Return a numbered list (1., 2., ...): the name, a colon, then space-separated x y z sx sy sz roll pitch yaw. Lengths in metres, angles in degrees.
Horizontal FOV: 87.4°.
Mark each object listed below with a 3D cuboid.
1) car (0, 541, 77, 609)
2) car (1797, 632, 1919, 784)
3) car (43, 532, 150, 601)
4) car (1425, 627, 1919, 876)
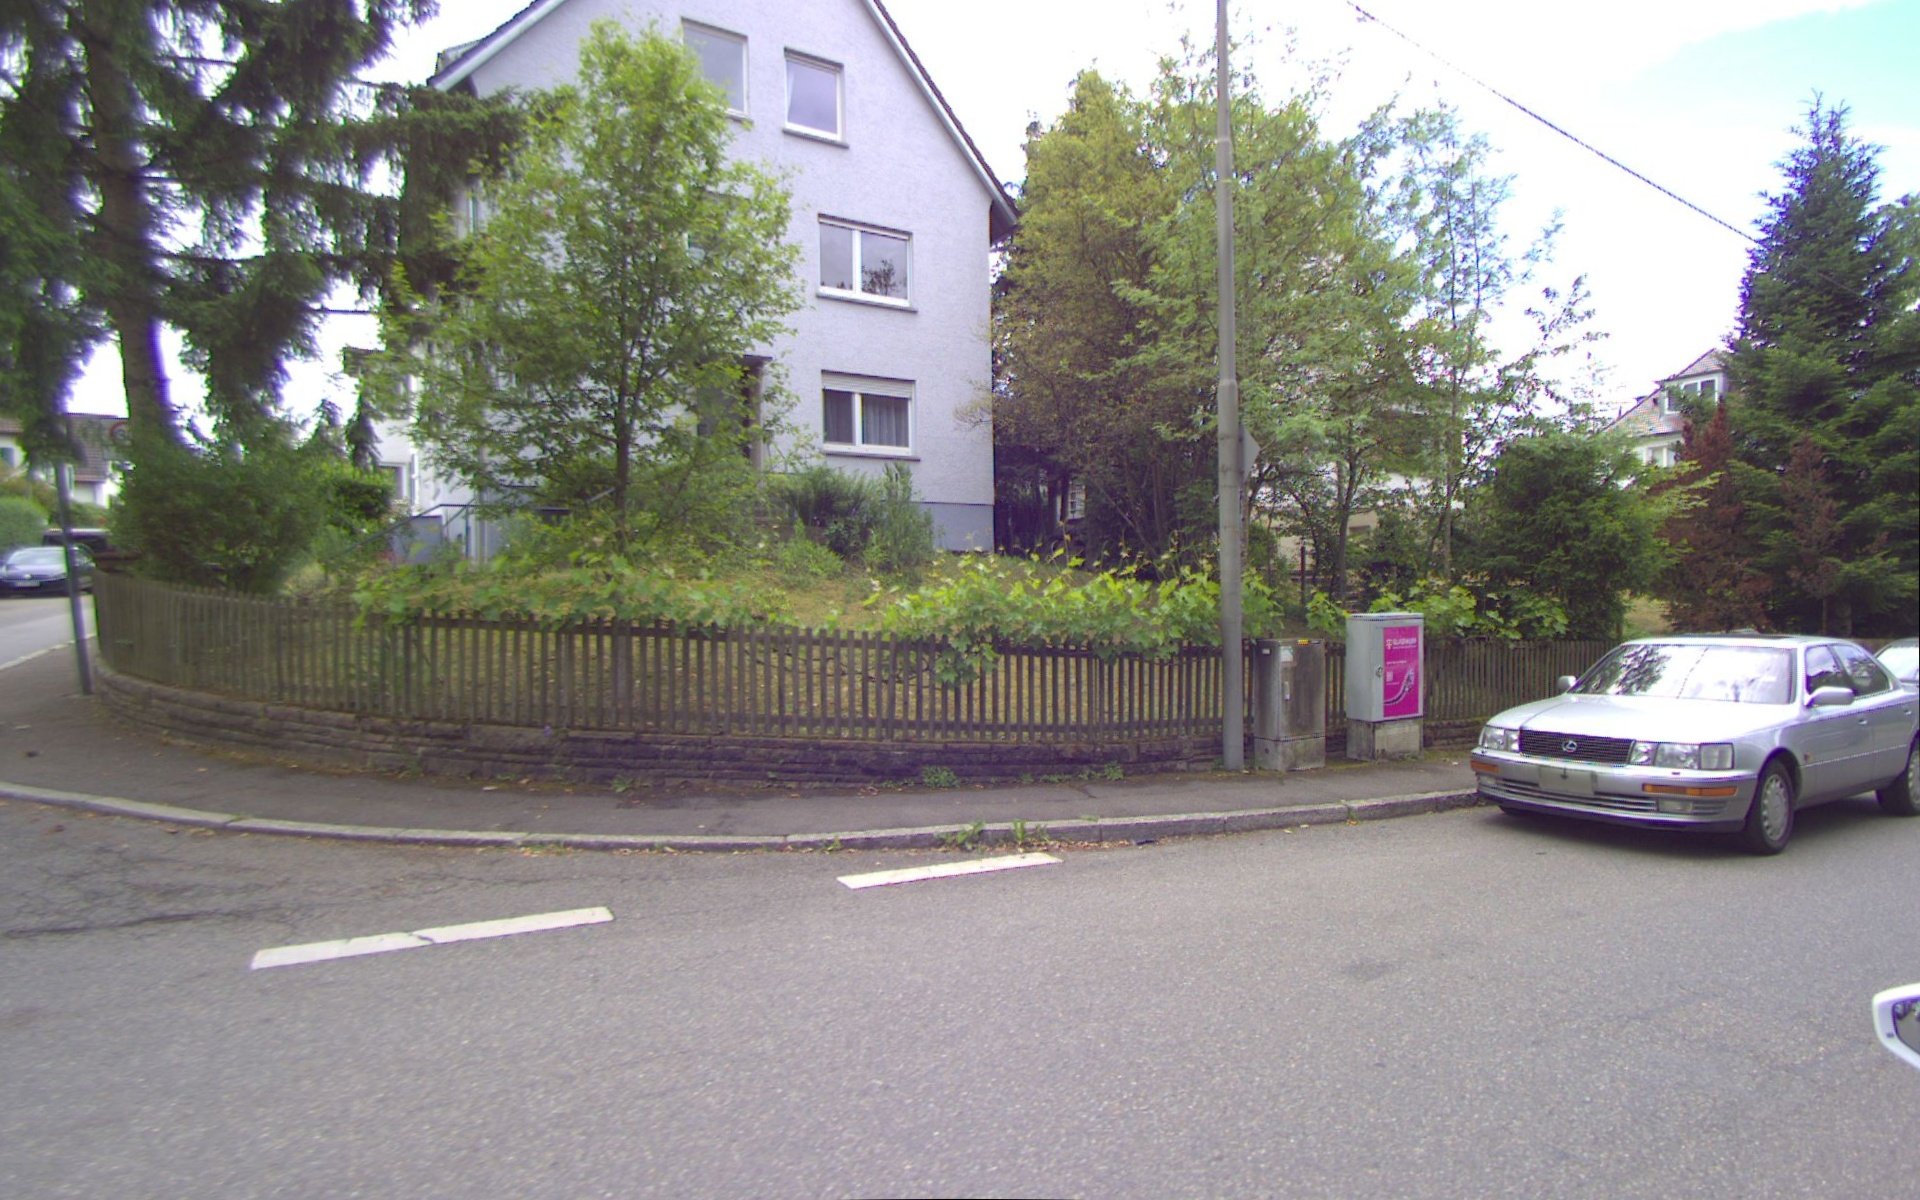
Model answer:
1. car: -25.452 -0.672 26.817 1.906 1.679 4.082 -4 4 -30
2. car: 10.927 1.076 10.878 4.217 1.458 1.724 1 -2 -33
3. car: -29.749 -1.191 34.755 1.906 2.162 4.082 -4 4 -30
4. car: 5.990 0.953 7.980 4.856 1.458 1.838 1 -2 -32
